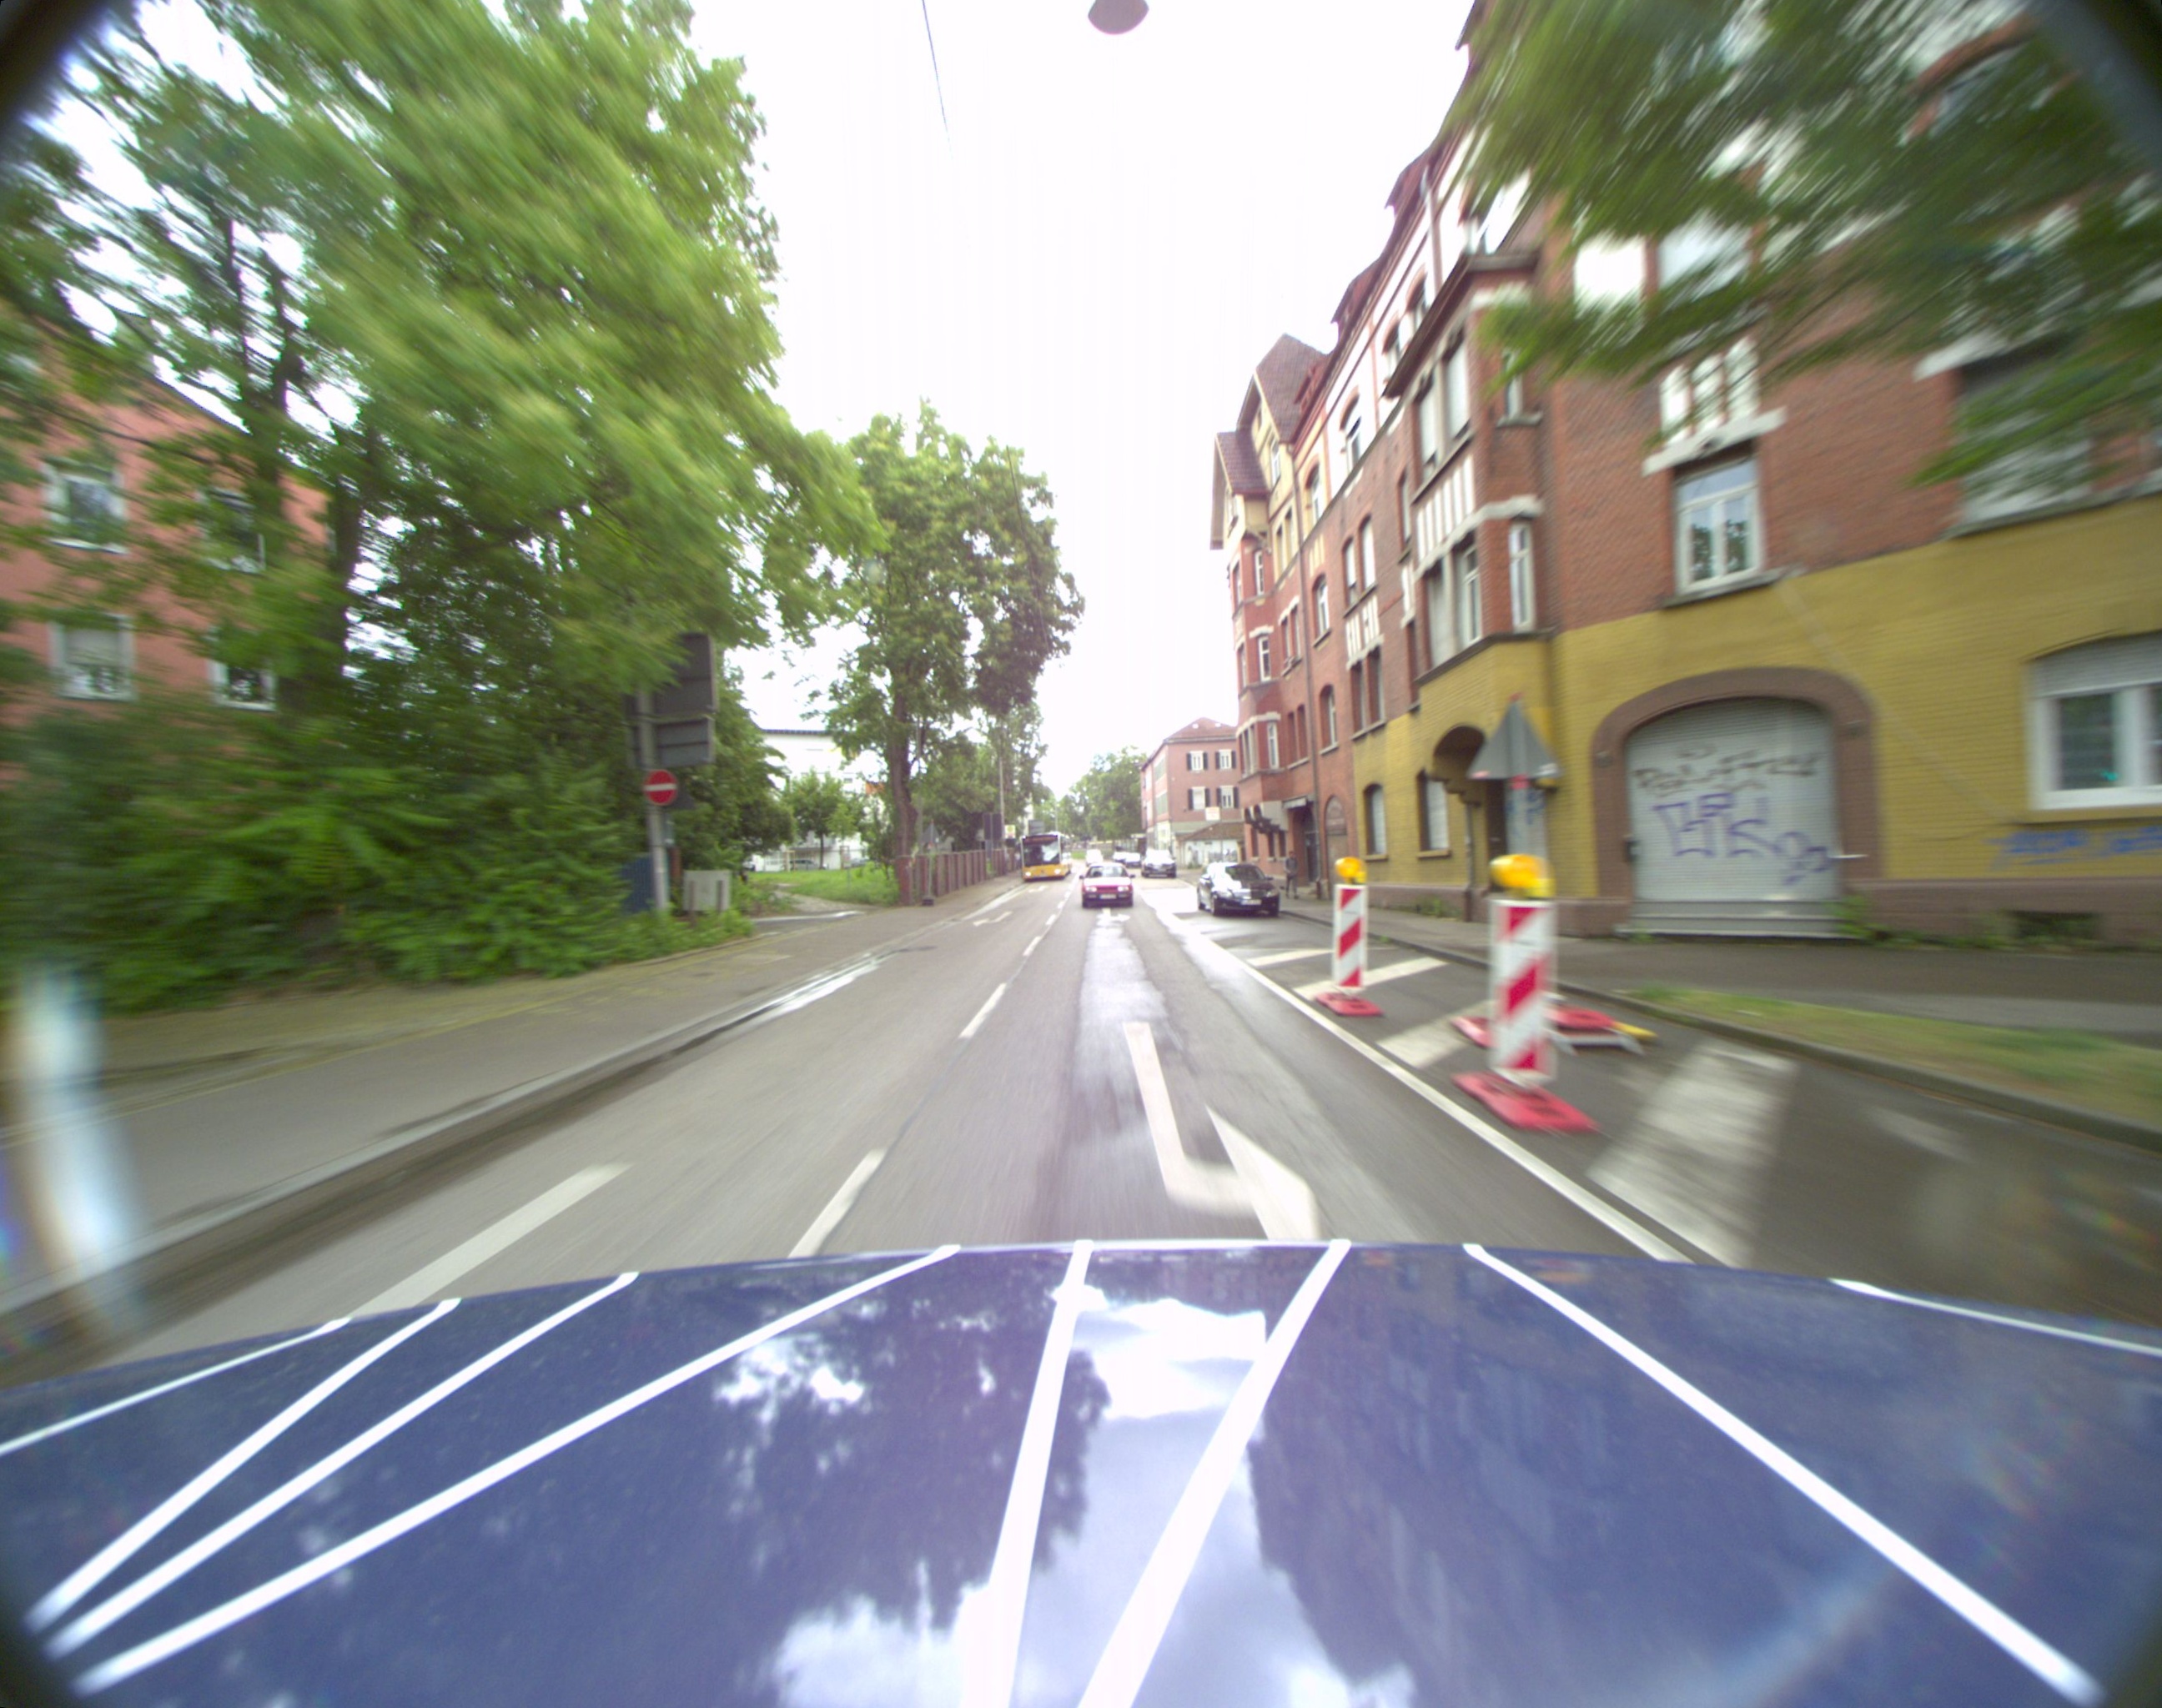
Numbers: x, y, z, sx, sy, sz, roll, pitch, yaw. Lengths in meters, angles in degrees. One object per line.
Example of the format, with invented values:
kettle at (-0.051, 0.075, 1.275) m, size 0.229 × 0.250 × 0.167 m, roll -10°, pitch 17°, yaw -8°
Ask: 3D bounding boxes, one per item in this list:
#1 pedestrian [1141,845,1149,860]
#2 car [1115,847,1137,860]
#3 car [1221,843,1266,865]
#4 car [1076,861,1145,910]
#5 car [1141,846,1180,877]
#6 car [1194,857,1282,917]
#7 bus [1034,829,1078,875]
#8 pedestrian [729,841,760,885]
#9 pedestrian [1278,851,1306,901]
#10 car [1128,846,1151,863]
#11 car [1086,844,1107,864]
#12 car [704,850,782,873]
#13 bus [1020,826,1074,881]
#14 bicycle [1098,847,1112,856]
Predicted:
pedestrian at (7.676, -0.193, 90.725) m, size 0.763 × 1.734 × 0.984 m, roll -4°, pitch 0°, yaw -1°
car at (5.454, -0.098, 91.893) m, size 1.834 × 1.447 × 4.917 m, roll -2°, pitch 2°, yaw -6°
car at (11.547, -0.017, 54.148) m, size 2.854 × 1.556 × 1.853 m, roll -1°, pitch 1°, yaw 2°
car at (0.877, 0.975, 25.065) m, size 1.850 × 1.414 × 4.171 m, roll -1°, pitch 0°, yaw -3°
car at (4.960, 0.436, 47.913) m, size 1.958 × 1.724 × 4.773 m, roll -2°, pitch 0°, yaw 1°
car at (4.377, 0.887, 21.822) m, size 1.729 × 1.477 × 4.391 m, roll -3°, pitch -1°, yaw 2°
bus at (-1.841, -0.208, 60.156) m, size 2.669 × 3.118 × 10.039 m, roll -4°, pitch 1°, yaw 1°
pedestrian at (-15.726, 0.394, 35.548) m, size 1.135 × 2.002 × 1.250 m, roll -1°, pitch 2°, yaw -16°
pedestrian at (7.080, 0.739, 25.512) m, size 0.661 × 1.600 × 0.632 m, roll -4°, pitch 0°, yaw 2°
car at (5.779, 0.003, 75.367) m, size 1.883 × 1.477 × 4.126 m, roll -4°, pitch 1°, yaw 1°
car at (1.716, 0.007, 85.339) m, size 2.073 × 1.776 × 4.454 m, roll -4°, pitch 4°, yaw 0°
car at (-26.848, 0.560, 60.529) m, size 5.565 × 1.581 × 1.995 m, roll -2°, pitch 3°, yaw -23°
bus at (-2.093, -0.103, 50.538) m, size 2.678 × 3.120 × 9.217 m, roll -4°, pitch 1°, yaw 2°
bicycle at (3.680, -0.360, 116.615) m, size 1.809 × 1.170 × 0.723 m, roll -5°, pitch 3°, yaw -24°
